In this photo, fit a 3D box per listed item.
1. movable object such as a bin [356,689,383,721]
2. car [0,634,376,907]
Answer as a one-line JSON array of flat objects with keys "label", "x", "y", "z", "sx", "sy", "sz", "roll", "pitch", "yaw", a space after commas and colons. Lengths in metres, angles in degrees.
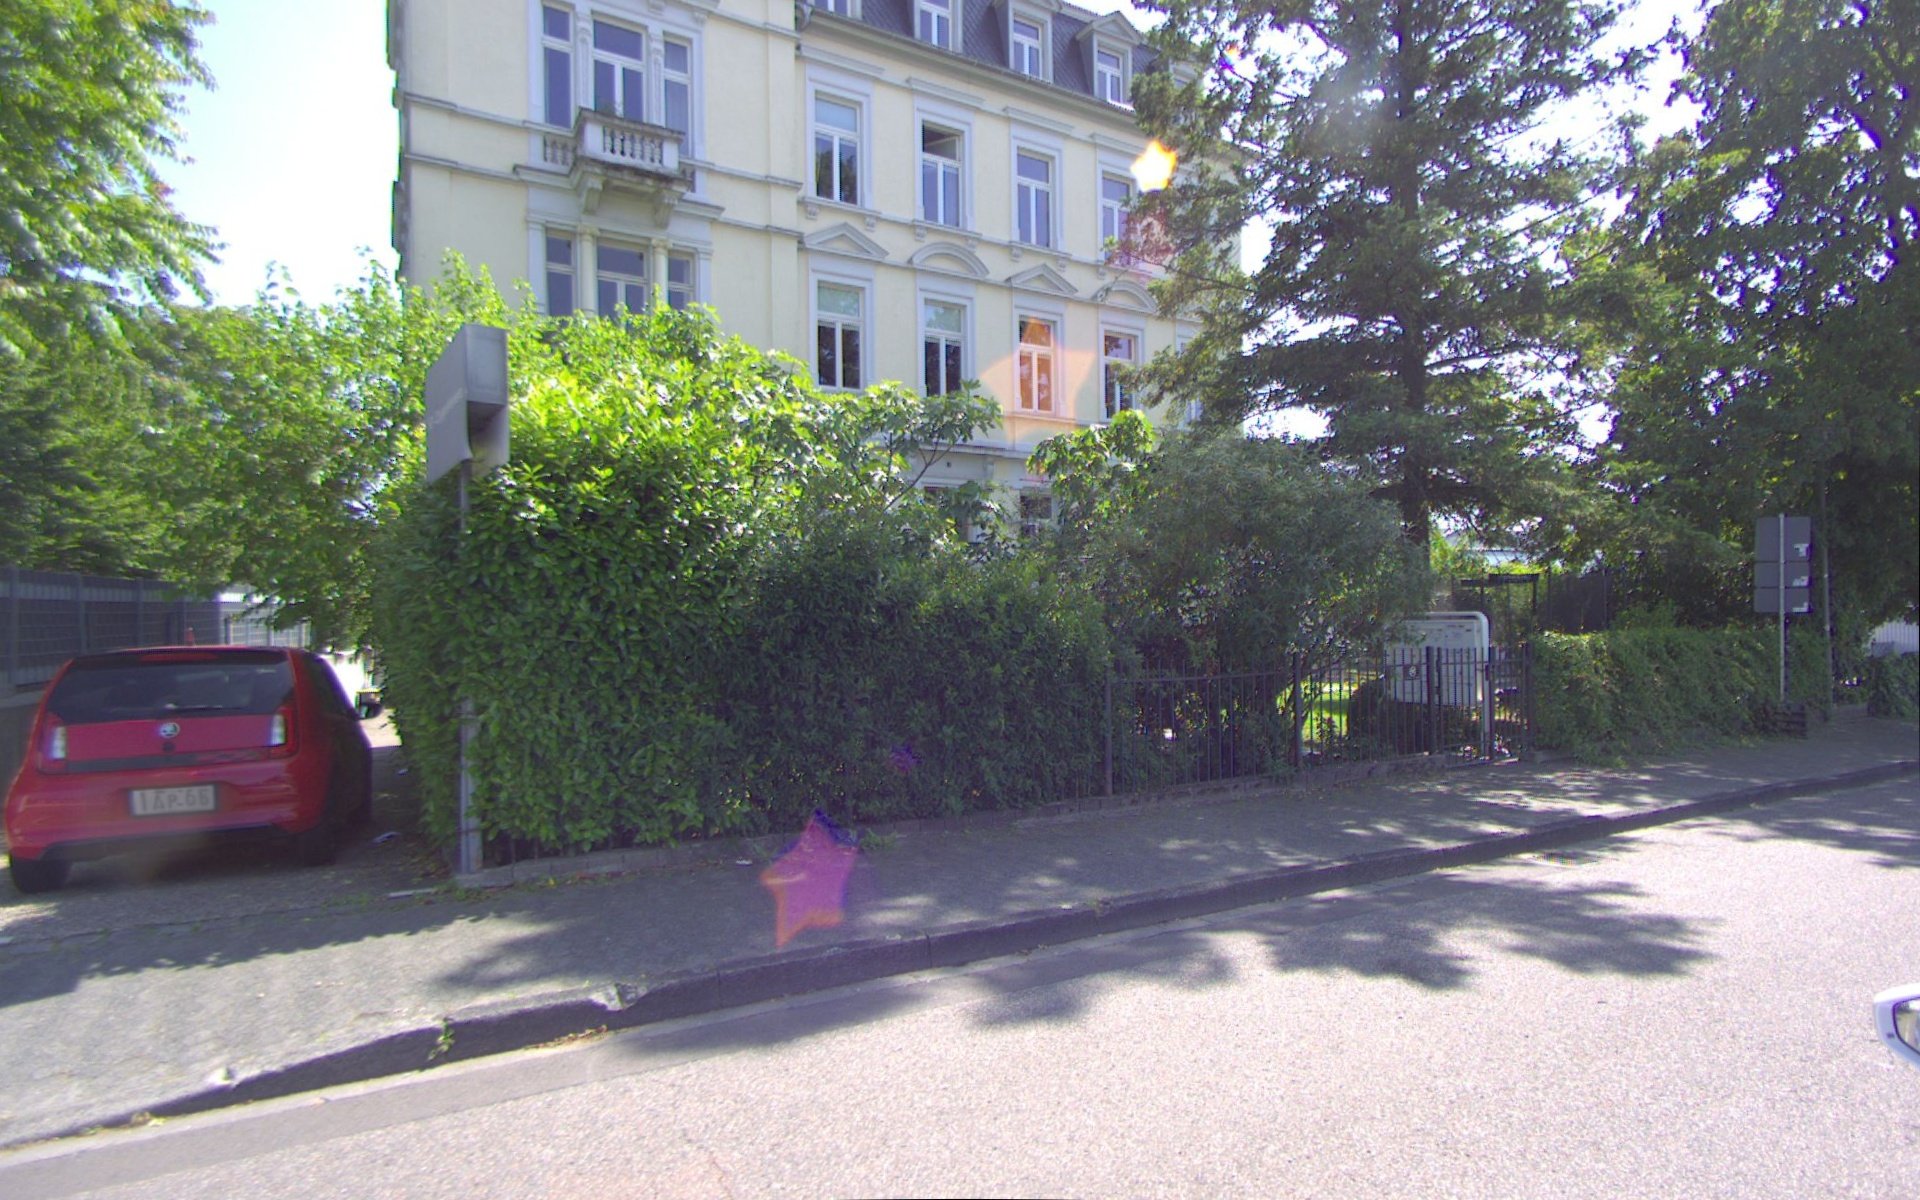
[{"label": "movable object such as a bin", "x": -22.054, "y": 3.902, "z": 37.529, "sx": 0.868, "sy": 1.133, "sz": 0.691, "roll": 1, "pitch": -4, "yaw": -31}, {"label": "car", "x": -5.352, "y": 1.105, "z": 7.400, "sx": 1.630, "sy": 1.484, "sz": 3.401, "roll": 1, "pitch": -6, "yaw": -28}]
